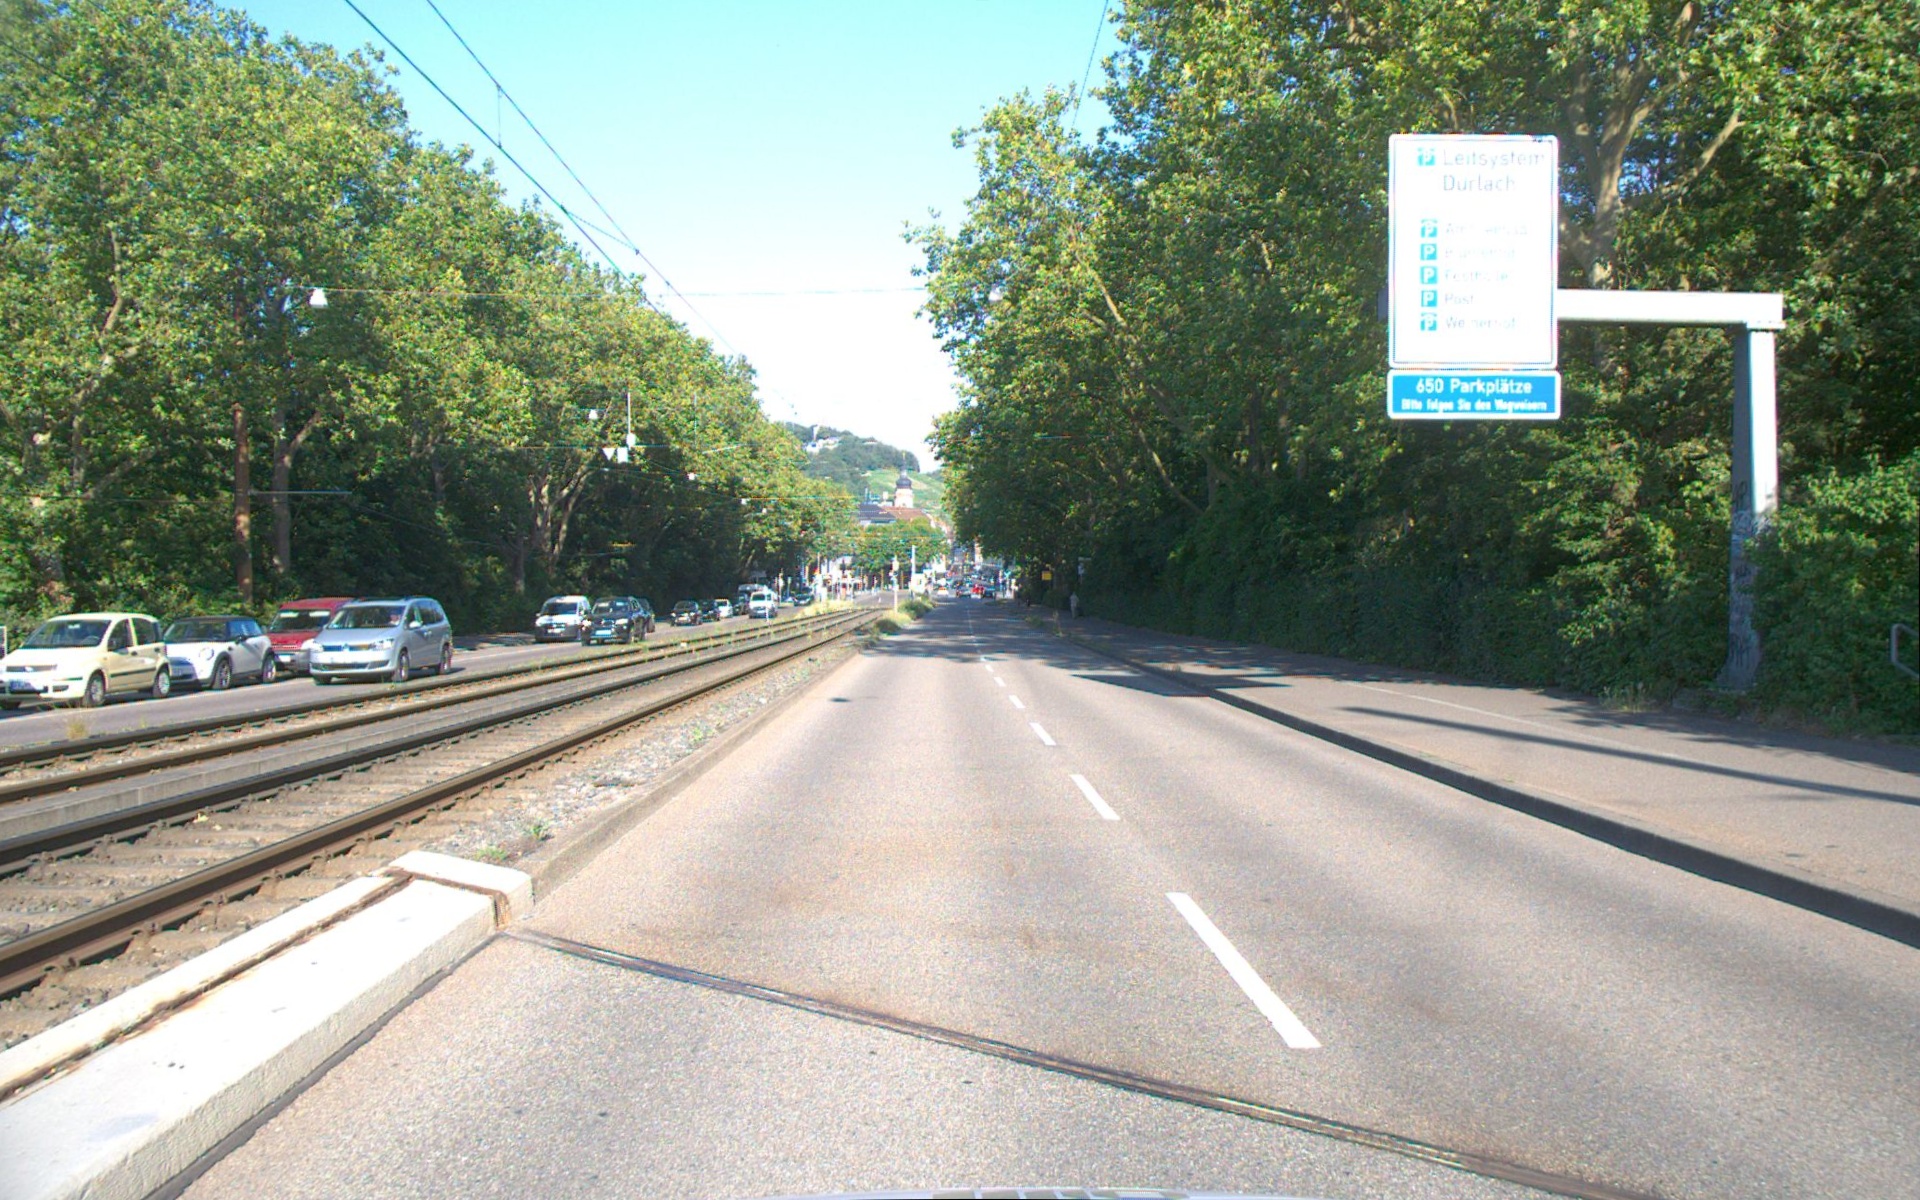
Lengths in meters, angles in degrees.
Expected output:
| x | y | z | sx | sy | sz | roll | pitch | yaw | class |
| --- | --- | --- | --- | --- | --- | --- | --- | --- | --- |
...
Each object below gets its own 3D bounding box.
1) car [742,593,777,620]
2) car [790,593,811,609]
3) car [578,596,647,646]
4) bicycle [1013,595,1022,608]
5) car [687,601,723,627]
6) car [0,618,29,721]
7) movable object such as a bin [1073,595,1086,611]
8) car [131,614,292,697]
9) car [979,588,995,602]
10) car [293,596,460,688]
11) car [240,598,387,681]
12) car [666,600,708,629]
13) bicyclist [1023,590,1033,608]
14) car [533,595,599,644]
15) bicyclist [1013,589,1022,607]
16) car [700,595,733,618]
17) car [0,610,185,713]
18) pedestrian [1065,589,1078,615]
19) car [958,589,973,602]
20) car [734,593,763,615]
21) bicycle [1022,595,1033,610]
| x | y | z | sx | sy | sz | roll | pitch | yaw | class |
| --- | --- | --- | --- | --- | --- | --- | --- | --- | --- |
| -14.658 | 0.470 | 121.098 | 1.953 | 1.876 | 5.300 | 2 | 0 | -1 | car |
| -17.710 | 0.116 | 183.785 | 1.953 | 1.726 | 4.742 | -1 | 0 | -2 | car |
| -12.515 | 0.722 | 59.825 | 1.707 | 1.651 | 4.392 | -2 | 1 | -3 | car |
| 5.875 | 0.150 | 169.258 | 0.869 | 1.344 | 2.639 | -1 | 0 | 0 | bicycle |
| -17.698 | 0.975 | 115.030 | 1.953 | 1.726 | 4.742 | -1 | 0 | -2 | car |
| -14.738 | 1.041 | 22.295 | 1.706 | 1.489 | 4.954 | 0 | 1 | -2 | car |
| 7.282 | 0.199 | 100.984 | 0.787 | 0.964 | 0.656 | -1 | 0 | 3 | movable object such as a bin |
| -15.078 | 1.072 | 33.534 | 1.601 | 1.476 | 4.000 | 0 | 1 | -3 | car |
| 4.192 | -0.760 | 257.290 | 2.345 | 2.034 | 5.305 | -1 | 0 | 0 | car |
| -12.043 | 0.809 | 34.463 | 1.835 | 1.694 | 4.596 | -1 | 1 | 0 | car |
| -15.108 | 0.875 | 38.914 | 1.706 | 1.784 | 4.683 | 0 | 1 | -1 | car |
| -16.806 | 0.890 | 102.065 | 1.953 | 1.726 | 4.742 | -1 | 0 | -2 | car |
| 6.225 | -0.087 | 151.863 | 0.869 | 1.667 | 1.164 | -1 | 0 | -1 | bicyclist |
| -15.912 | 0.763 | 67.015 | 1.707 | 1.773 | 4.511 | -4 | 1 | -3 | car |
| 5.851 | -0.209 | 169.153 | 0.869 | 1.806 | 1.222 | -1 | 0 | -1 | bicyclist |
| -18.620 | 0.477 | 126.455 | 1.953 | 1.726 | 4.742 | -1 | 0 | -2 | car |
| -14.862 | 0.988 | 28.159 | 1.600 | 1.558 | 3.789 | 0 | 1 | -1 | car |
| 6.857 | 0.129 | 101.785 | 0.787 | 1.573 | 0.814 | -1 | 0 | 3 | pedestrian |
| 0.830 | -0.752 | 261.936 | 2.345 | 2.034 | 5.305 | -1 | 0 | 0 | car |
| -17.663 | 0.315 | 138.302 | 1.953 | 1.726 | 4.742 | -1 | 0 | -2 | car |
| 6.226 | 0.196 | 151.764 | 0.869 | 1.344 | 2.639 | -1 | 0 | 0 | bicycle |
